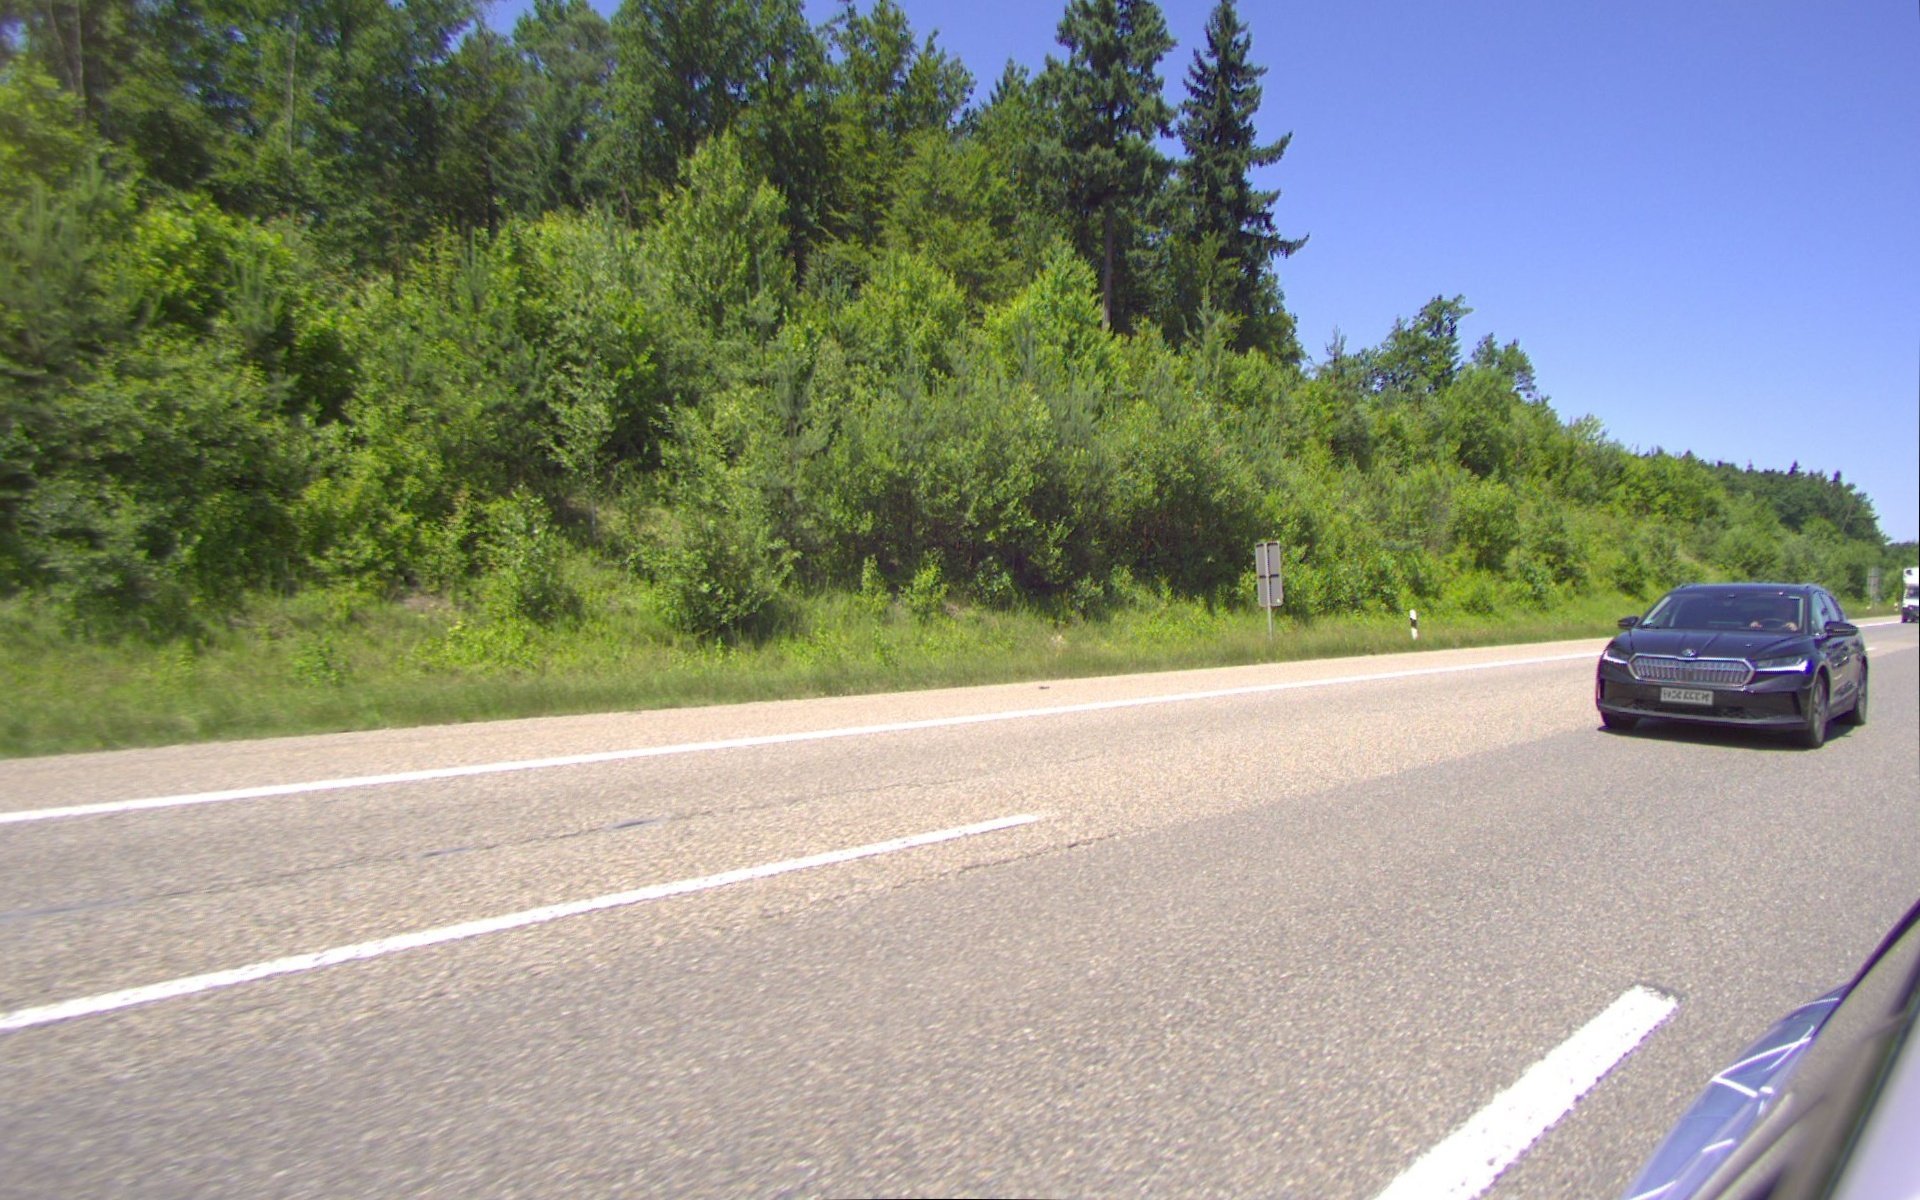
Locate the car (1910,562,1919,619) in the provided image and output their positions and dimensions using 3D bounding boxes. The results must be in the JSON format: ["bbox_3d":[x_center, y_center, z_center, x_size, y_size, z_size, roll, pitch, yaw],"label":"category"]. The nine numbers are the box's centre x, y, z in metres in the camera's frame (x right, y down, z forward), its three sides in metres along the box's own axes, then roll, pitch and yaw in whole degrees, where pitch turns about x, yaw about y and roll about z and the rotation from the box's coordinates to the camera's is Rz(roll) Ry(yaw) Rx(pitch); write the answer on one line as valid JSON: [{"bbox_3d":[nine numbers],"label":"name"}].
[{"bbox_3d":[59.649,-0.610,61.393,7.491,3.378,2.300,-1,1,-42],"label":"car"}]

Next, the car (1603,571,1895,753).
[{"bbox_3d":[8.951,0.506,11.339,4.384,1.639,1.986,-1,2,-44],"label":"car"}]
